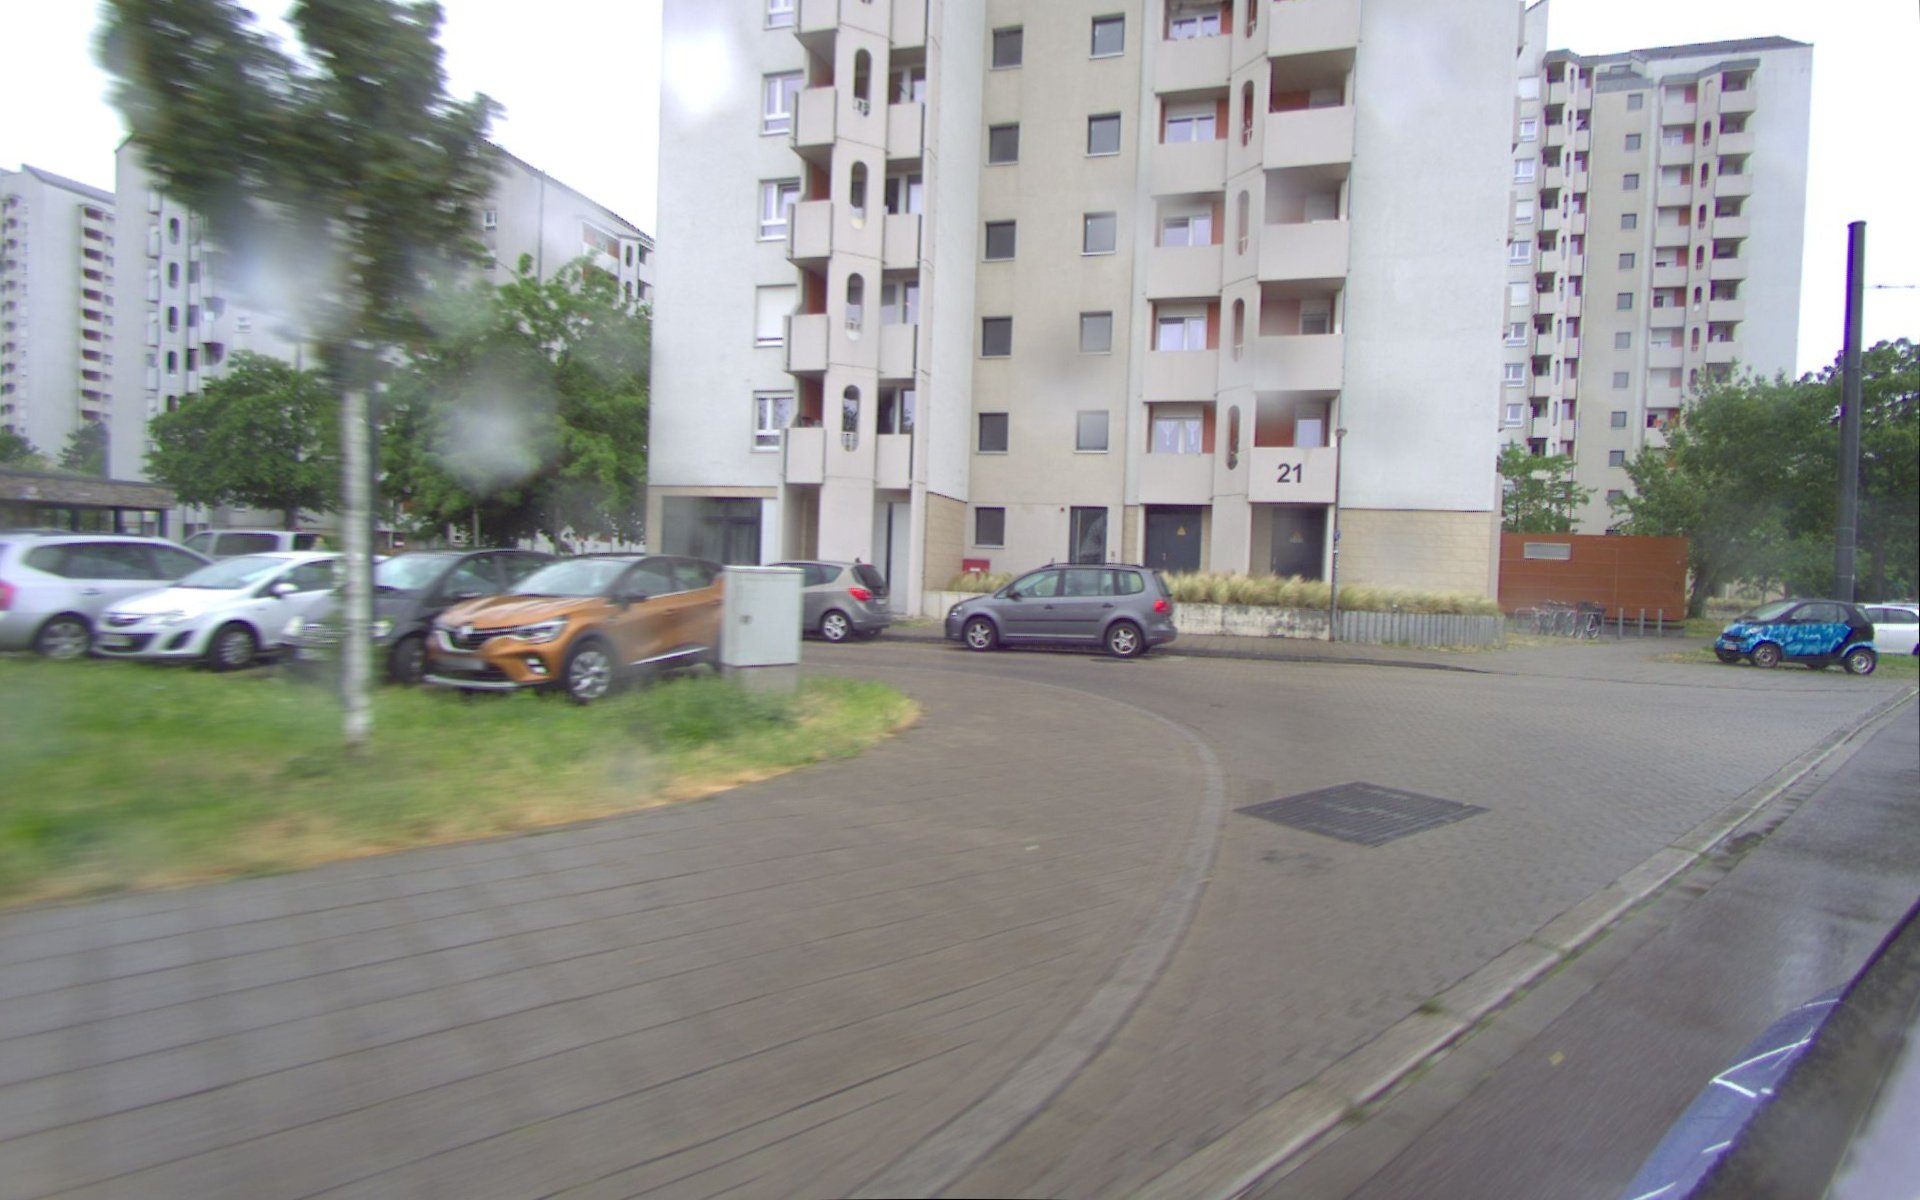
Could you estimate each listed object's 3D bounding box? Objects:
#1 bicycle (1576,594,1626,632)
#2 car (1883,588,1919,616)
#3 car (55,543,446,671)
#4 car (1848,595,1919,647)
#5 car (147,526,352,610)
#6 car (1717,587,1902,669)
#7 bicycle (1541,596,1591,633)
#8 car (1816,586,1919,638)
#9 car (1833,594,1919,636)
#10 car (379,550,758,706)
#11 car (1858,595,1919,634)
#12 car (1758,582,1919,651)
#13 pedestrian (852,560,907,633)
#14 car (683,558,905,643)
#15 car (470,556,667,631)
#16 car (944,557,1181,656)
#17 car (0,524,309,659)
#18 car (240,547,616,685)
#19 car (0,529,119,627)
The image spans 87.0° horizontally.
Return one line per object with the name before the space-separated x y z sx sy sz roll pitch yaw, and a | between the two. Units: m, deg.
bicycle | 18.369 0.361 28.989 2.023 1.018 0.662 0 2 -42
car | 58.496 0.221 60.846 3.987 1.506 1.719 5 2 13
car | -9.373 0.021 13.775 1.976 1.459 3.973 1 2 21
car | 34.541 0.865 35.913 4.122 1.692 1.679 5 2 12
car | -17.567 -0.791 25.078 4.219 1.943 1.984 1 0 17
car | 18.332 0.572 21.951 2.523 1.567 1.599 2 2 9
bicycle | 17.795 0.400 29.708 2.023 1.018 0.662 0 2 -42
car | 35.529 0.516 38.233 4.391 1.691 1.808 5 2 11
car | 37.991 0.697 40.337 4.397 1.427 1.761 5 3 14
car | -4.270 0.210 11.755 1.976 1.459 3.973 1 2 21
car | 40.652 0.736 42.193 4.399 1.445 1.677 5 3 15
car | 25.169 0.472 28.214 4.118 1.566 1.761 5 2 9
pedestrian | -1.757 -0.098 22.138 0.827 1.536 1.088 1 1 19
car | -3.334 -0.014 20.480 4.060 1.553 1.804 1 0 19
car | -8.565 -0.153 22.182 3.748 1.493 1.804 1 0 19
car | 1.918 0.082 18.726 4.060 1.637 1.804 1 0 19
car | -11.839 -0.139 14.224 1.941 1.606 4.343 2 1 15
car | -6.527 0.111 12.937 1.976 1.459 3.973 1 2 21
car | -16.913 -0.397 16.696 1.941 1.629 4.343 2 1 15
